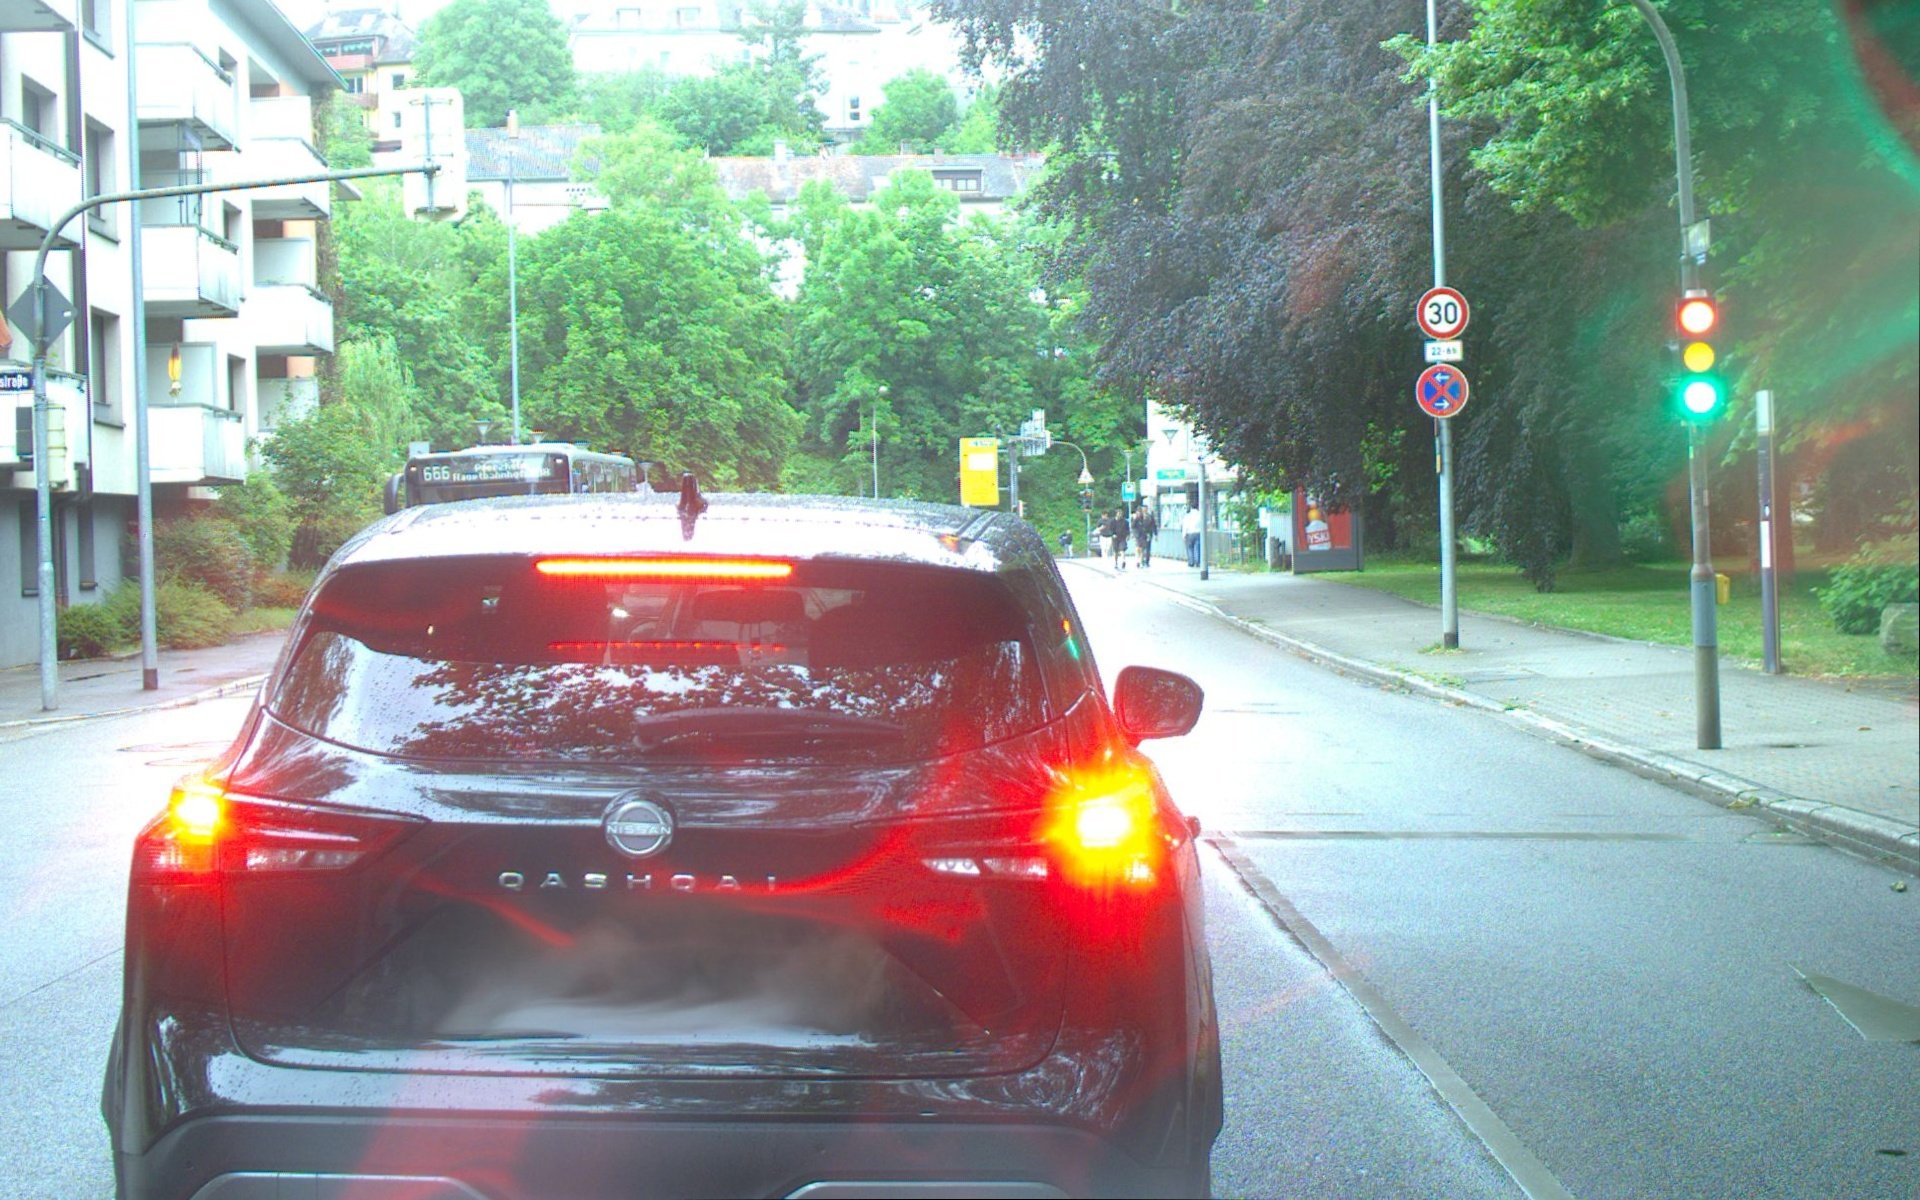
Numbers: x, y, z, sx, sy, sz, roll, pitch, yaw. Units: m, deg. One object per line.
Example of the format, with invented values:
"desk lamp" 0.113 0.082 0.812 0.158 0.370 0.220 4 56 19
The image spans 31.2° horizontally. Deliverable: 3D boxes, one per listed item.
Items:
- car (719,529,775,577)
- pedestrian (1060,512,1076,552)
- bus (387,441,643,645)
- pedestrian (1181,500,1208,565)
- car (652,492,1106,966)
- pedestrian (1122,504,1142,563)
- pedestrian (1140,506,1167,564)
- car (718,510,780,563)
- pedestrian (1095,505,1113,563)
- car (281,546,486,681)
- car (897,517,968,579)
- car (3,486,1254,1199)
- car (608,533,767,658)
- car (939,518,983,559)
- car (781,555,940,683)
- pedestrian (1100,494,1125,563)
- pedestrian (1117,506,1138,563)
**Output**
"car" -7.747 -1.728 125.348 1.750 1.628 3.635 -2 1 0
"pedestrian" 5.507 -3.440 174.768 0.699 2.007 0.583 -2 1 -1
"bus" -7.159 -0.941 57.034 2.766 2.964 11.782 -2 1 -1
"pedestrian" 6.503 -1.887 95.475 0.618 1.773 0.778 -2 1 -1
"car" -0.268 0.440 14.650 1.622 1.703 3.771 -2 1 1
"pedestrian" 4.855 -1.878 97.269 0.514 1.650 0.550 1 0 -1
"pedestrian" 5.573 -1.875 99.055 0.699 1.645 0.628 1 0 0
"car" -6.347 -1.926 103.880 1.676 1.464 4.217 -3 1 -2
"pedestrian" 4.149 -1.893 98.954 0.475 1.645 0.490 1 0 0
"car" -6.813 0.125 41.002 1.808 1.412 4.031 -3 1 -2
"car" -0.654 -1.266 83.155 1.624 1.410 3.455 -2 1 0
"car" -0.508 0.619 7.008 1.806 1.584 4.000 1 1 -1
"car" -3.301 -0.083 42.217 1.624 1.410 3.455 -2 1 0
"car" 0.033 -2.562 142.380 1.750 1.628 3.635 -2 1 0
"car" -1.191 0.193 41.140 1.808 1.412 4.031 0 1 -2
"pedestrian" 4.876 -2.267 109.708 0.768 2.176 0.711 1 0 3
"pedestrian" 4.827 -1.884 98.972 0.544 1.645 0.490 1 0 0
